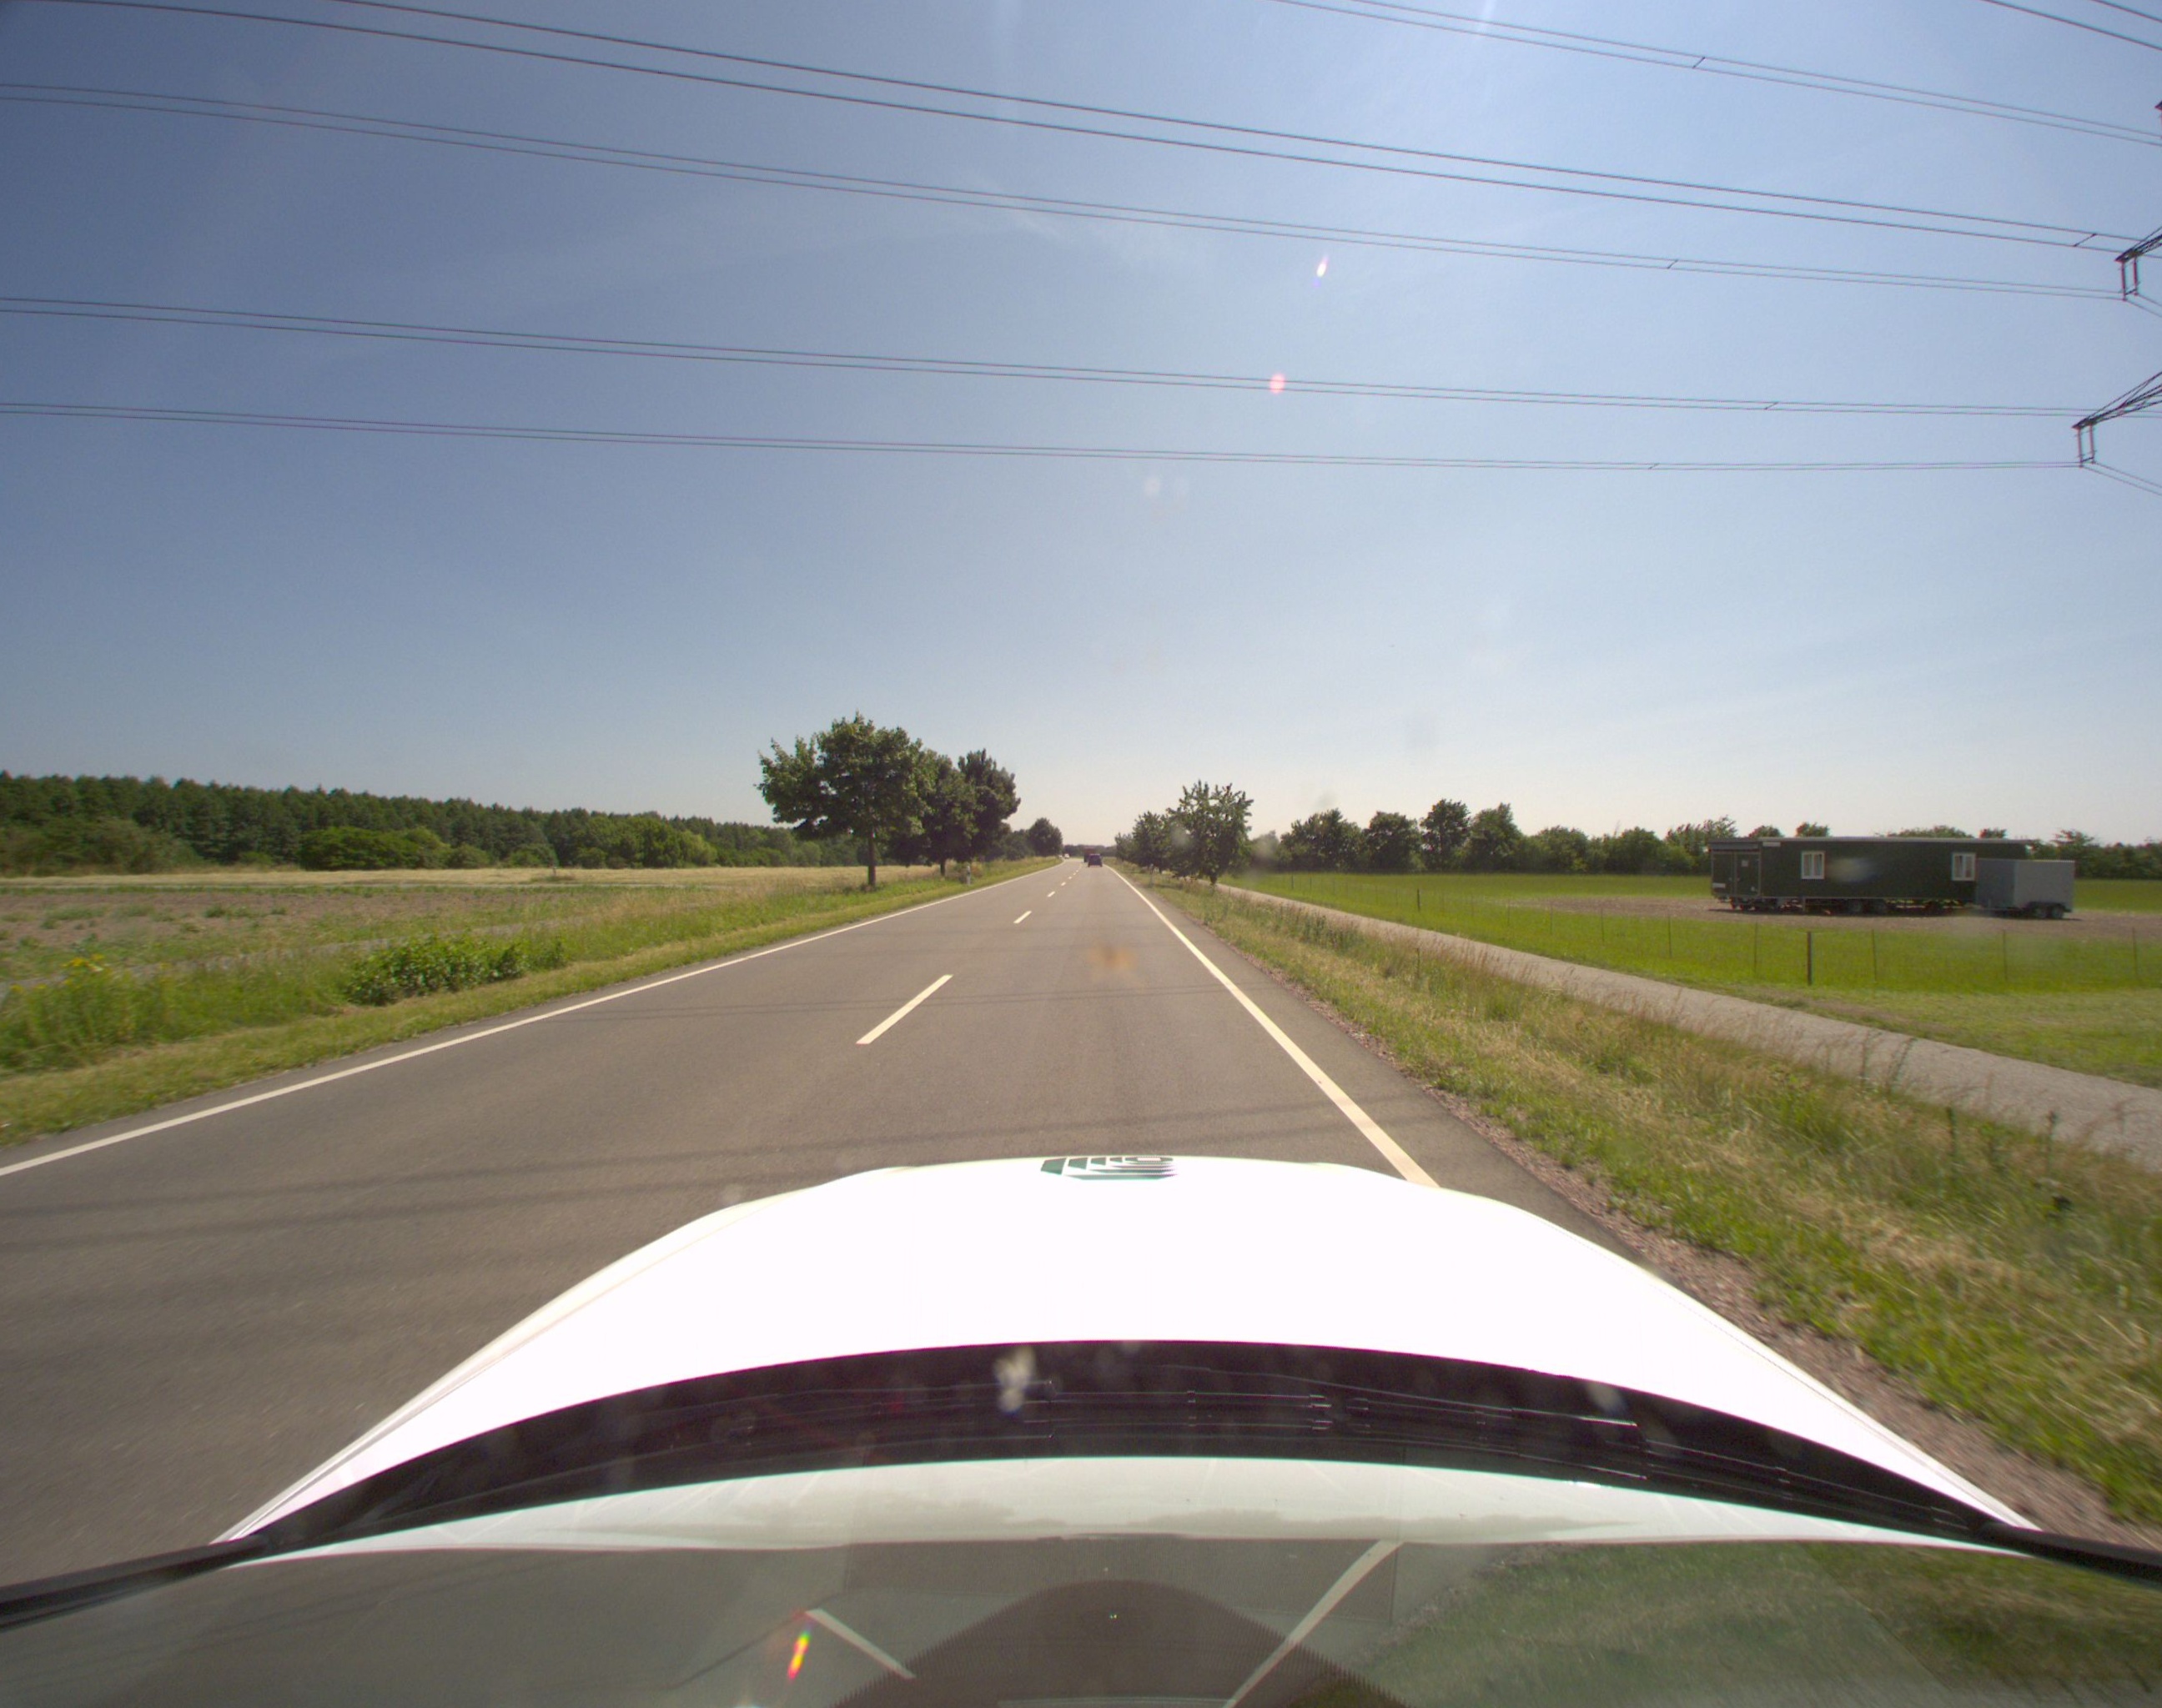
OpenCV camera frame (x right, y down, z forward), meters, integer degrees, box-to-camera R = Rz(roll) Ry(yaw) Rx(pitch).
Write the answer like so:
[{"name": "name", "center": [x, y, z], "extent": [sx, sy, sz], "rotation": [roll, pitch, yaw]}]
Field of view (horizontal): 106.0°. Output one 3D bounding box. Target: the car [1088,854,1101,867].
[{"name": "car", "center": [1.803, 0.875, 106.649], "extent": [1.708, 1.694, 3.989], "rotation": [-1, -1, 1]}]

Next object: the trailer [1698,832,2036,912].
[{"name": "trailer", "center": [36.639, 0.821, 38.380], "extent": [12.370, 3.473, 3.805], "rotation": [1, 0, 0]}]

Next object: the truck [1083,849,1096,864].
[{"name": "truck", "center": [1.726, 0.565, 173.953], "extent": [2.365, 3.140, 8.738], "rotation": [-1, -1, -3]}]

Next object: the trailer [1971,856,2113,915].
[{"name": "trailer", "center": [41.595, 1.350, 35.320], "extent": [3.976, 2.443, 1.999], "rotation": [1, 0, -2]}]
